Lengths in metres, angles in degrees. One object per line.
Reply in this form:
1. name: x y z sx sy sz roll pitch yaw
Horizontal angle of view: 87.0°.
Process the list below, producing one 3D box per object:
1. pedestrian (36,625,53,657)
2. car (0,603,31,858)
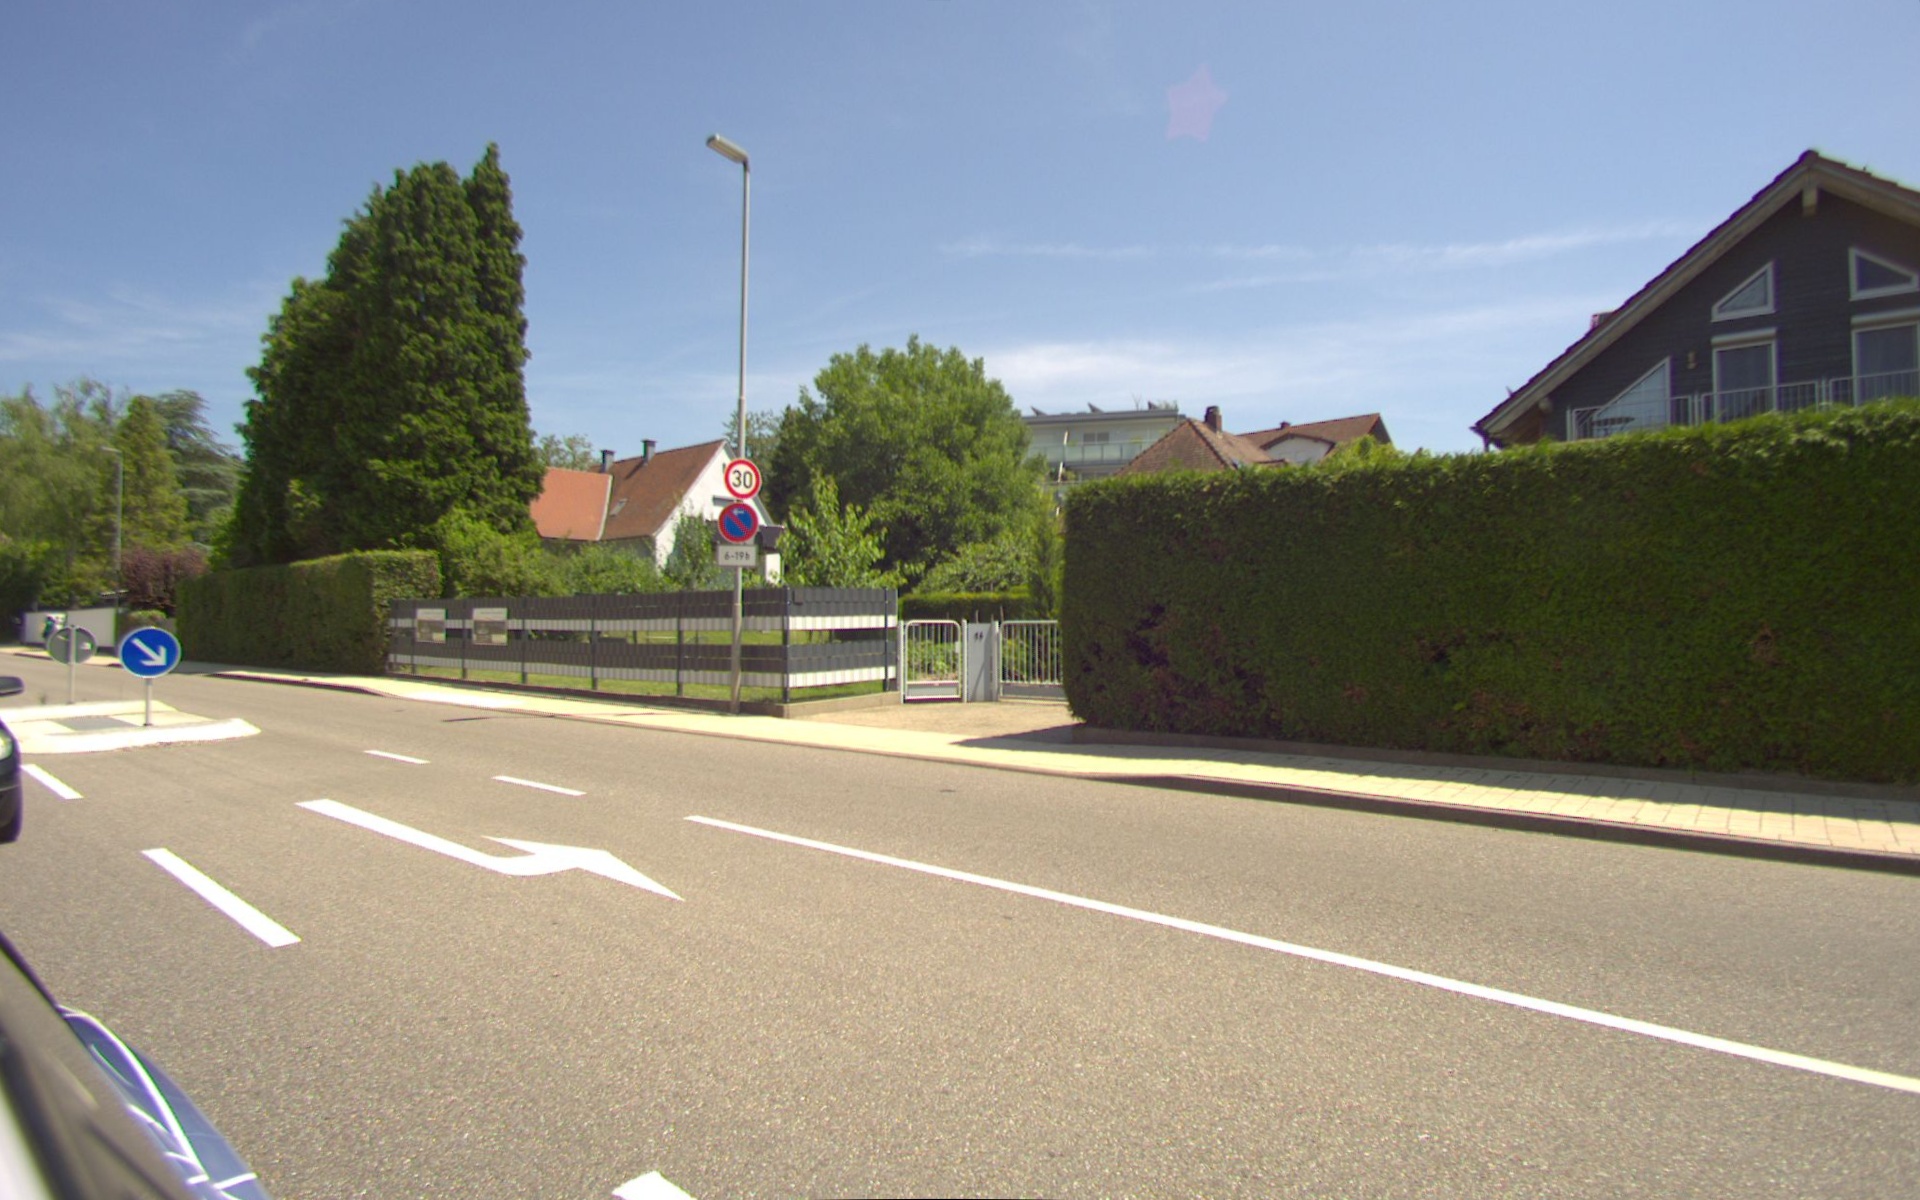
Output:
1. pedestrian: -43.547 1.967 48.155 0.482 1.497 0.548 -1 0 40
2. car: -8.098 0.853 7.107 4.154 1.601 1.844 -2 -2 41
